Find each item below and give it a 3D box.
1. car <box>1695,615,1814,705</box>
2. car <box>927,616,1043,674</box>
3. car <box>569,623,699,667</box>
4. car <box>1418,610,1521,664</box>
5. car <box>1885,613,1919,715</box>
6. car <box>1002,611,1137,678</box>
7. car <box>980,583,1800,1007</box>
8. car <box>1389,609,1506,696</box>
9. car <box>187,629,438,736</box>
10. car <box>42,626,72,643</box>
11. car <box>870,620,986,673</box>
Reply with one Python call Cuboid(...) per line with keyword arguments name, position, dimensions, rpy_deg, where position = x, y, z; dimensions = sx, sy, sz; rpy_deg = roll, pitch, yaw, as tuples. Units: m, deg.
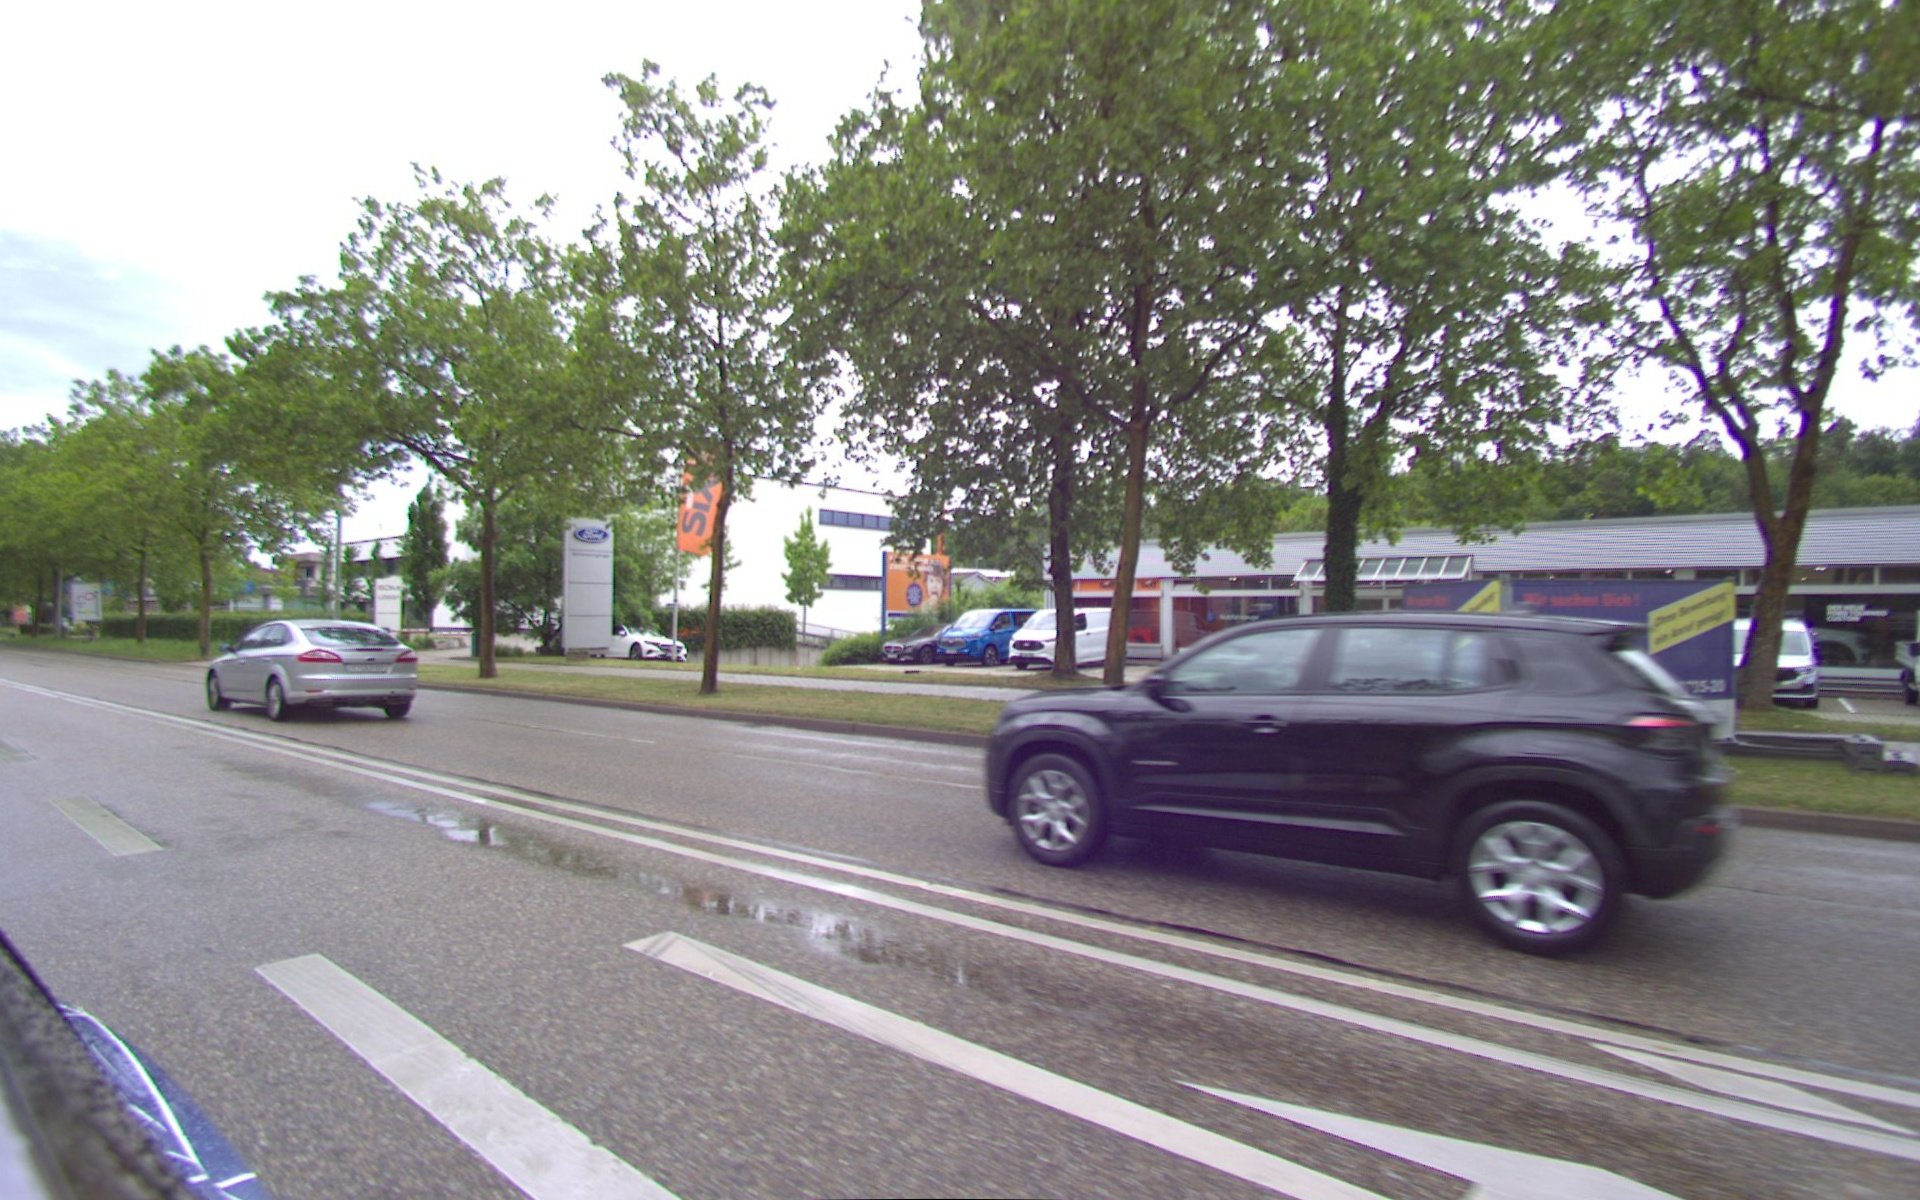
Cuboid(name="car", position=(17.392, 1.245, 22.209), dimensions=(1.880, 1.780, 3.948), rpy_deg=(-1, -2, 38))
Cuboid(name="car", position=(0.914, 1.534, 35.272), dimensions=(1.962, 1.904, 3.945), rpy_deg=(-2, -2, 41))
Cuboid(name="car", position=(-12.050, 1.612, 37.199), dimensions=(5.242, 1.507, 2.096), rpy_deg=(-1, -3, 40))
Cuboid(name="car", position=(18.089, 1.274, 36.131), dimensions=(1.887, 1.757, 3.882), rpy_deg=(-1, 0, 4))
Cuboid(name="car", position=(20.202, 1.225, 19.905), dimensions=(2.412, 1.918, 5.325), rpy_deg=(-1, -2, 37))
Cuboid(name="car", position=(3.723, 1.443, 33.622), dimensions=(2.127, 2.029, 4.996), rpy_deg=(-2, -2, 38))
Cuboid(name="car", position=(2.150, 0.790, 5.651), dimensions=(3.856, 1.543, 1.744), rpy_deg=(-2, -4, 41))
Cuboid(name="car", position=(12.540, 1.296, 25.924), dimensions=(1.880, 2.029, 3.948), rpy_deg=(-2, -2, 38))
Cuboid(name="car", position=(-10.263, 1.198, 15.907), dimensions=(4.681, 1.440, 1.973), rpy_deg=(-1, -3, 40))
Cuboid(name="car", position=(-90.512, 3.470, 101.414), dimensions=(3.999, 1.545, 1.723), rpy_deg=(-1, -4, 42))
Cuboid(name="car", position=(-1.128, 1.686, 37.109), dimensions=(2.065, 1.827, 4.083), rpy_deg=(-2, -2, 41))
